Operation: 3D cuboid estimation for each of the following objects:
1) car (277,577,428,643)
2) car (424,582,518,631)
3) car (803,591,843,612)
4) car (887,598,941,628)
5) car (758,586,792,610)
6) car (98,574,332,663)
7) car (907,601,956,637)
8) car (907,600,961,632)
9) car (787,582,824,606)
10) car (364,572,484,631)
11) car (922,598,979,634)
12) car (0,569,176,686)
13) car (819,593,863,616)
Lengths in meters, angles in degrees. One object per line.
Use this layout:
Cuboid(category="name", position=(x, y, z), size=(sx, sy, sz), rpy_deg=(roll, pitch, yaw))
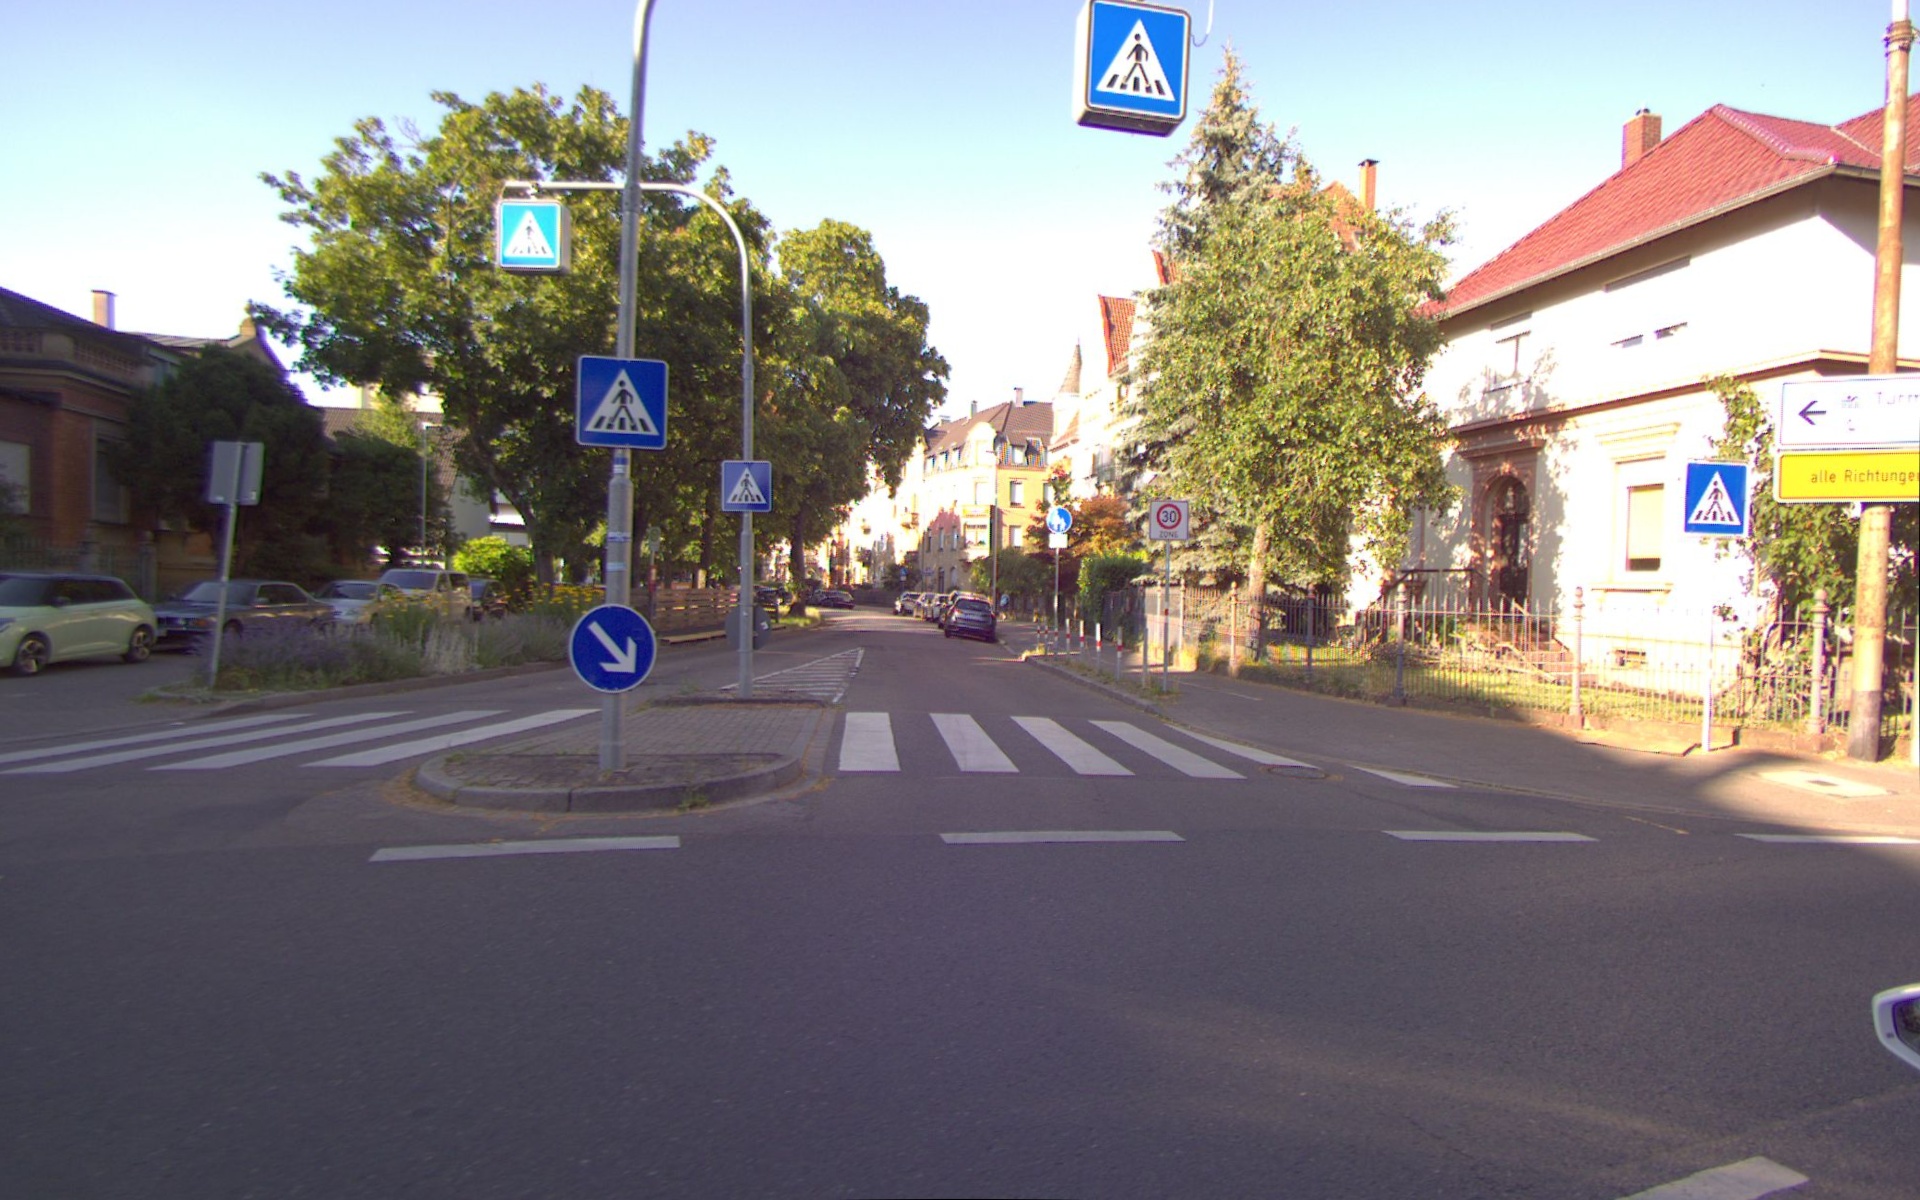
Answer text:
Cuboid(category="car", position=(-15.807, 0.221, 26.413), size=(1.906, 1.557, 4.132), rpy_deg=(2, 1, -8))
Cuboid(category="car", position=(-18.295, 0.212, 37.814), size=(1.906, 1.685, 4.294), rpy_deg=(2, 1, -8))
Cuboid(category="car", position=(-11.794, 0.106, 86.430), size=(2.313, 1.617, 4.904), rpy_deg=(2, 1, -21))
Cuboid(category="car", position=(-2.880, 0.765, 62.082), size=(2.309, 1.617, 4.913), rpy_deg=(2, 1, -15))
Cuboid(category="car", position=(-13.630, -0.167, 73.872), size=(1.823, 1.707, 3.982), rpy_deg=(1, 1, -19))
Cuboid(category="car", position=(-14.797, 0.313, 20.277), size=(1.905, 1.557, 4.134), rpy_deg=(2, 1, -6))
Cuboid(category="car", position=(-1.087, 0.712, 39.659), size=(1.628, 1.253, 3.798), rpy_deg=(2, 1, 3))
Cuboid(category="car", position=(-1.536, 0.866, 56.384), size=(2.305, 1.617, 4.920), rpy_deg=(2, 1, -10))
Cuboid(category="car", position=(-14.250, -0.583, 92.584), size=(2.313, 2.068, 4.904), rpy_deg=(2, 1, -21))
Cuboid(category="car", position=(-16.862, 0.014, 31.857), size=(1.906, 1.685, 4.503), rpy_deg=(2, 1, -8))
Cuboid(category="car", position=(-0.551, 0.784, 51.017), size=(2.304, 1.617, 4.923), rpy_deg=(2, 1, -7))
Cuboid(category="car", position=(-14.161, 0.327, 15.319), size=(1.781, 1.557, 3.903), rpy_deg=(2, 1, -10))
Cuboid(category="car", position=(-9.680, 0.339, 81.413), size=(2.313, 1.617, 4.904), rpy_deg=(2, 1, -21))
